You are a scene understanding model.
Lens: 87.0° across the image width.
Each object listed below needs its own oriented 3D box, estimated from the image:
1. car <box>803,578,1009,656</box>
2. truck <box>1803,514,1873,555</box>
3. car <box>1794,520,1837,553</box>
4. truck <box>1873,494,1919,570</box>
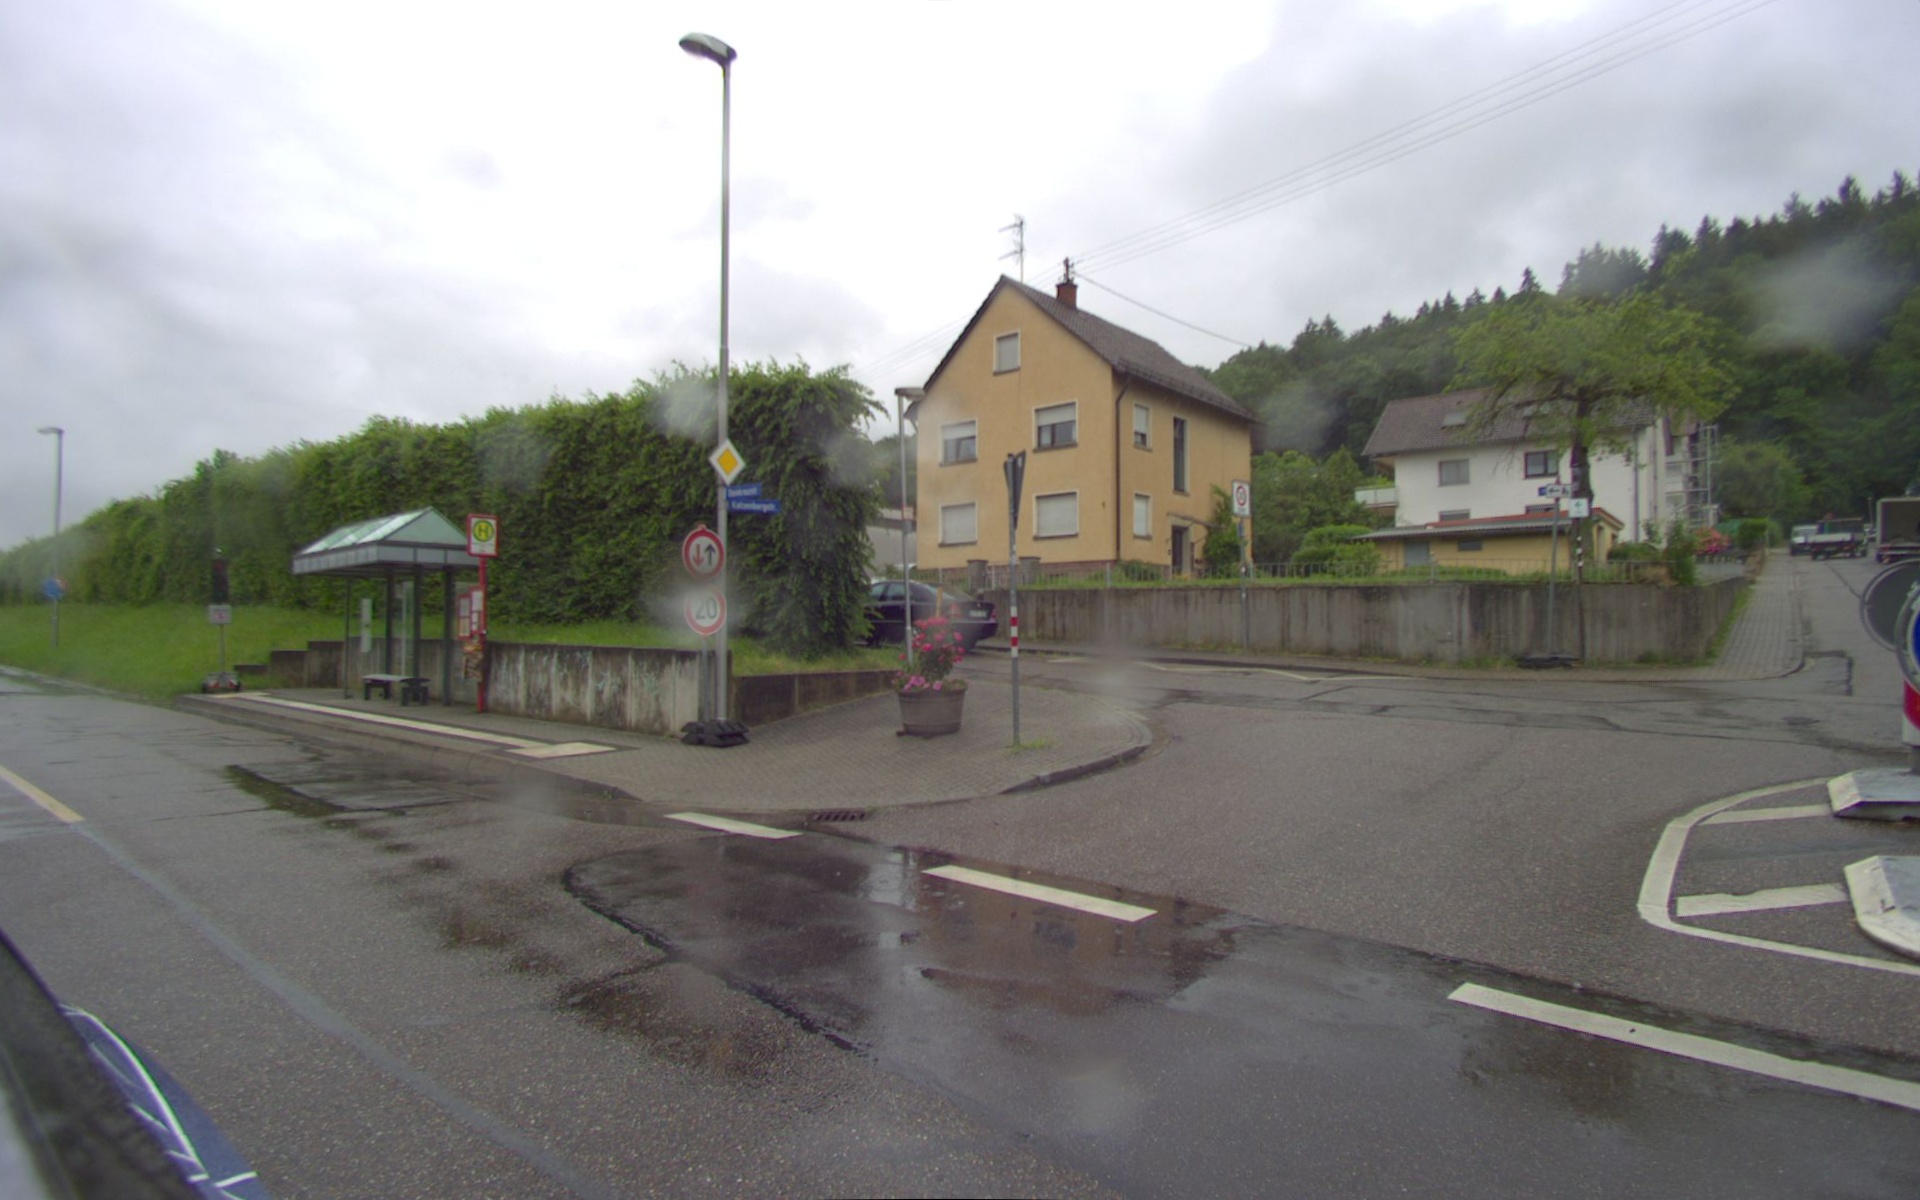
[{"bbox_3d":[-1.184,0.292,20.952,4.220,1.399,1.726,2,1,41],"label":"car"},{"bbox_3d":[50.663,-3.701,58.340,5.987,2.142,2.303,-2,1,-42],"label":"truck"},{"bbox_3d":[56.234,-4.115,66.607,1.913,2.028,3.950,0,2,37],"label":"car"},{"bbox_3d":[45.609,-3.203,48.590,2.452,3.377,6.568,-1,1,41],"label":"truck"}]
